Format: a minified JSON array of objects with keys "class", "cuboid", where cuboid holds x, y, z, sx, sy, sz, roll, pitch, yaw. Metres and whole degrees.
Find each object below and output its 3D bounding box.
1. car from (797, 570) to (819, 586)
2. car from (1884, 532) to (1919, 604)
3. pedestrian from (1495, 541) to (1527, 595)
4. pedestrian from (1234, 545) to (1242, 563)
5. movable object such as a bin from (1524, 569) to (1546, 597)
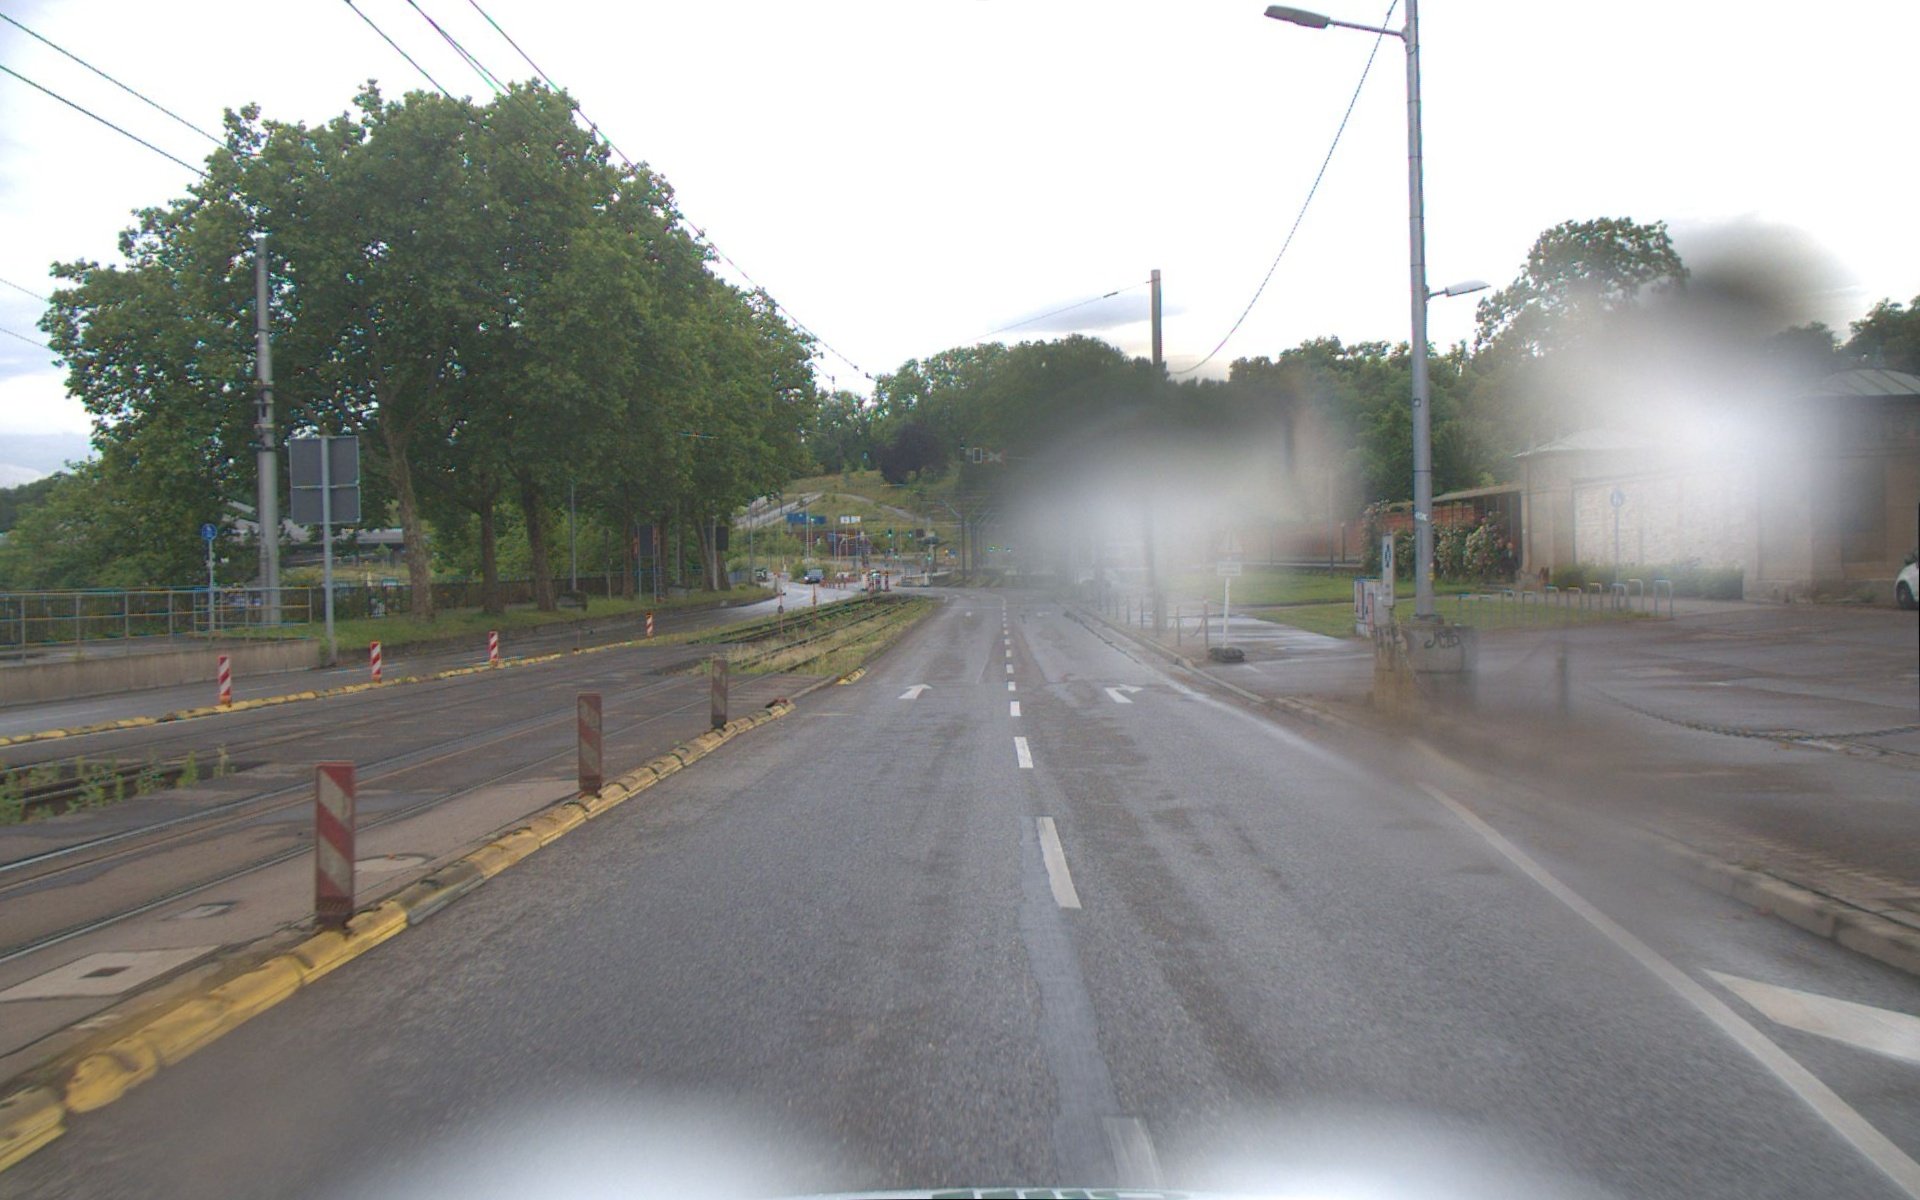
[{"class":"car","cuboid":[-15.231,-2.179,165.719,1.711,1.454,4.561,-3,1,0]},{"class":"car","cuboid":[21.229,-0.654,34.612,1.799,1.479,3.599,-2,3,1]},{"class":"pedestrian","cuboid":[18.242,-1.059,54.745,0.713,1.740,0.982,-2,1,2]},{"class":"pedestrian","cuboid":[26.438,-4.387,157.351,0.540,1.686,0.467,-1,0,36]},{"class":"movable object such as a bin","cuboid":[18.901,-0.558,54.353,0.335,0.887,1.192,-2,1,2]}]
